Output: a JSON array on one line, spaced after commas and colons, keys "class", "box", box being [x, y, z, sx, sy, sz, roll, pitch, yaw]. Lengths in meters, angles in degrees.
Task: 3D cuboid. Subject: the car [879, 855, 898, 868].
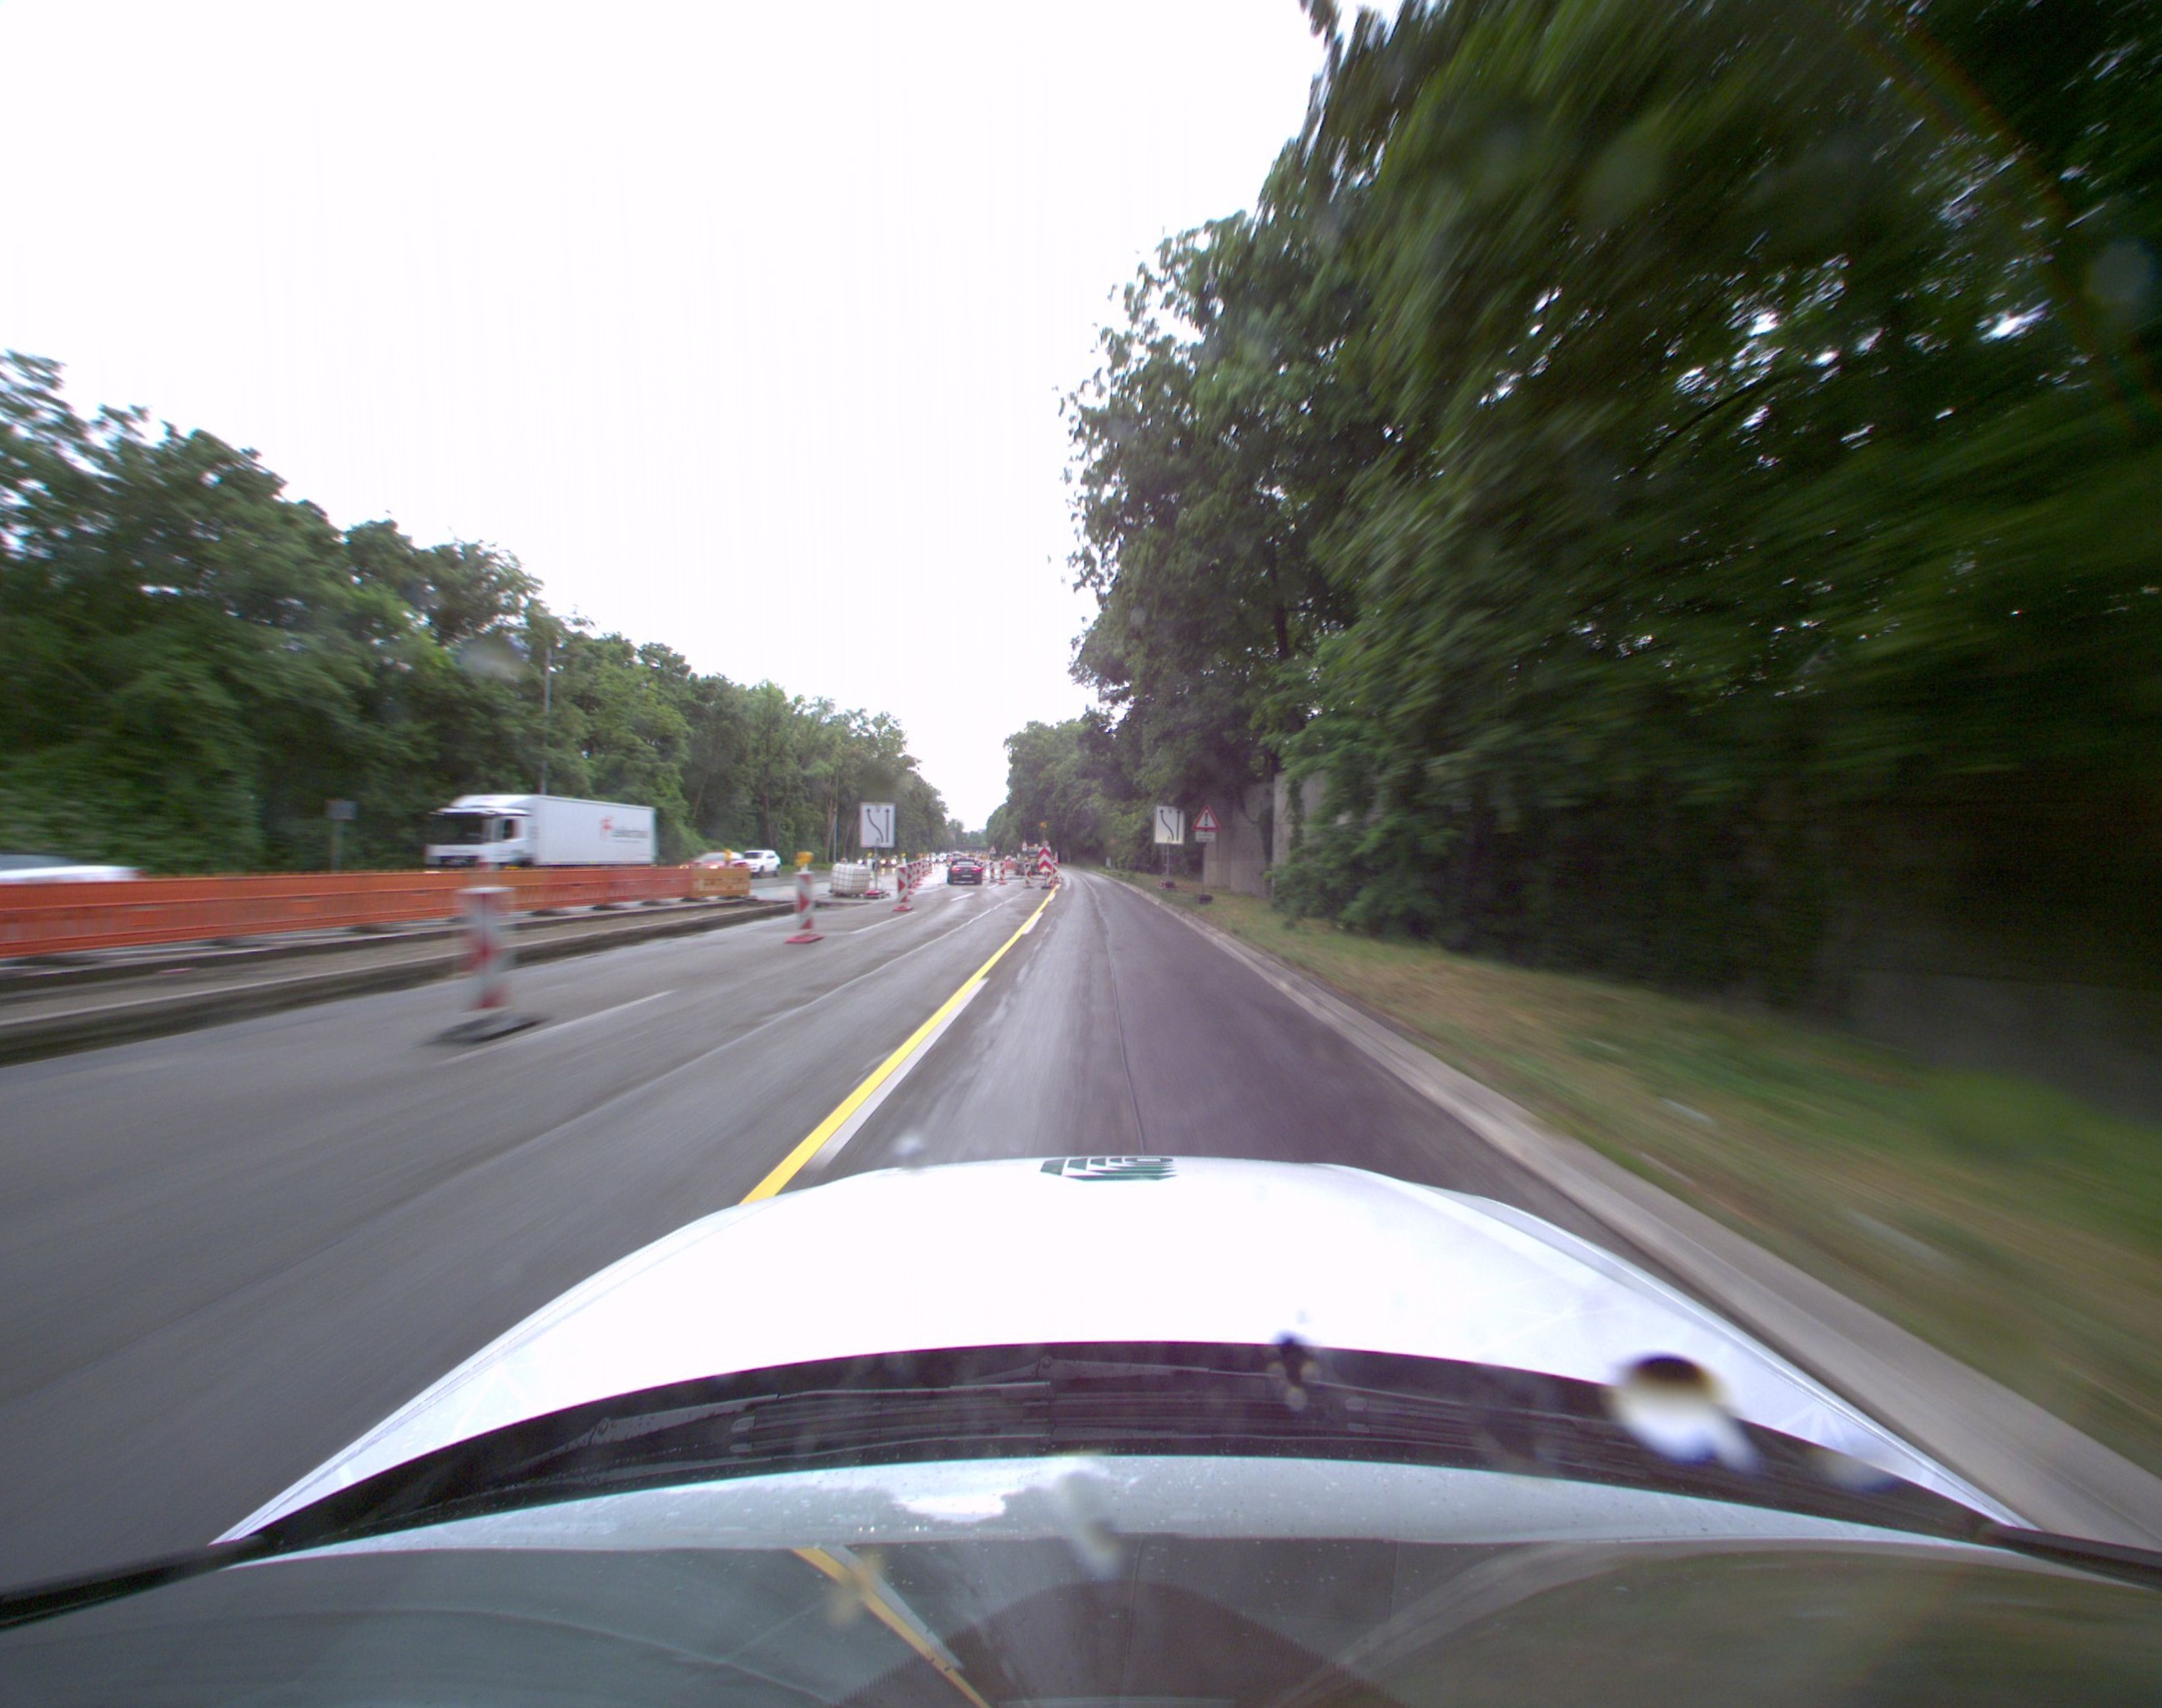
[{"class": "car", "box": [-23.401, 0.892, 99.110, 1.521, 1.457, 3.538, -1, 0, -1]}]

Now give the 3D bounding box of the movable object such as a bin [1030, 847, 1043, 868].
[{"class": "movable object such as a bin", "box": [-6.042, 0.459, 110.732, 1.743, 2.867, 3.529, 0, 0, -4]}]

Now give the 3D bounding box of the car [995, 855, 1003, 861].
[{"class": "car", "box": [-22.883, 1.165, 228.481, 1.871, 1.618, 3.996, 3, 0, -3]}]

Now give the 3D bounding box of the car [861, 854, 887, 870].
[{"class": "car", "box": [-21.568, 0.785, 84.968, 1.630, 1.647, 4.198, 0, 0, 0]}]

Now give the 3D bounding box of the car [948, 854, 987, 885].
[{"class": "car", "box": [-6.380, 0.846, 46.221, 1.859, 1.491, 3.995, 2, 2, -4]}]

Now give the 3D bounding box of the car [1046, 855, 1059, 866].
[{"class": "car", "box": [-4.570, 1.001, 129.446, 1.909, 1.598, 4.829, 1, 0, -3]}]

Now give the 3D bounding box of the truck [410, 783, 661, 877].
[{"class": "truck", "box": [-20.913, -0.779, 32.399, 2.785, 3.148, 10.152, 1, 0, 2]}]

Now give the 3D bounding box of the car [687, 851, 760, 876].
[{"class": "car", "box": [-17.592, 0.468, 40.300, 1.599, 1.152, 4.284, 1, 0, 2]}]

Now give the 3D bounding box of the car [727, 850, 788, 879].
[{"class": "car", "box": [-20.712, 0.662, 52.329, 1.837, 1.723, 4.721, -3, 0, 2]}]

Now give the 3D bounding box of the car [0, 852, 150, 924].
[{"class": "car", "box": [-21.461, 0.642, 15.736, 1.803, 1.379, 4.370, 1, 0, 1]}]
